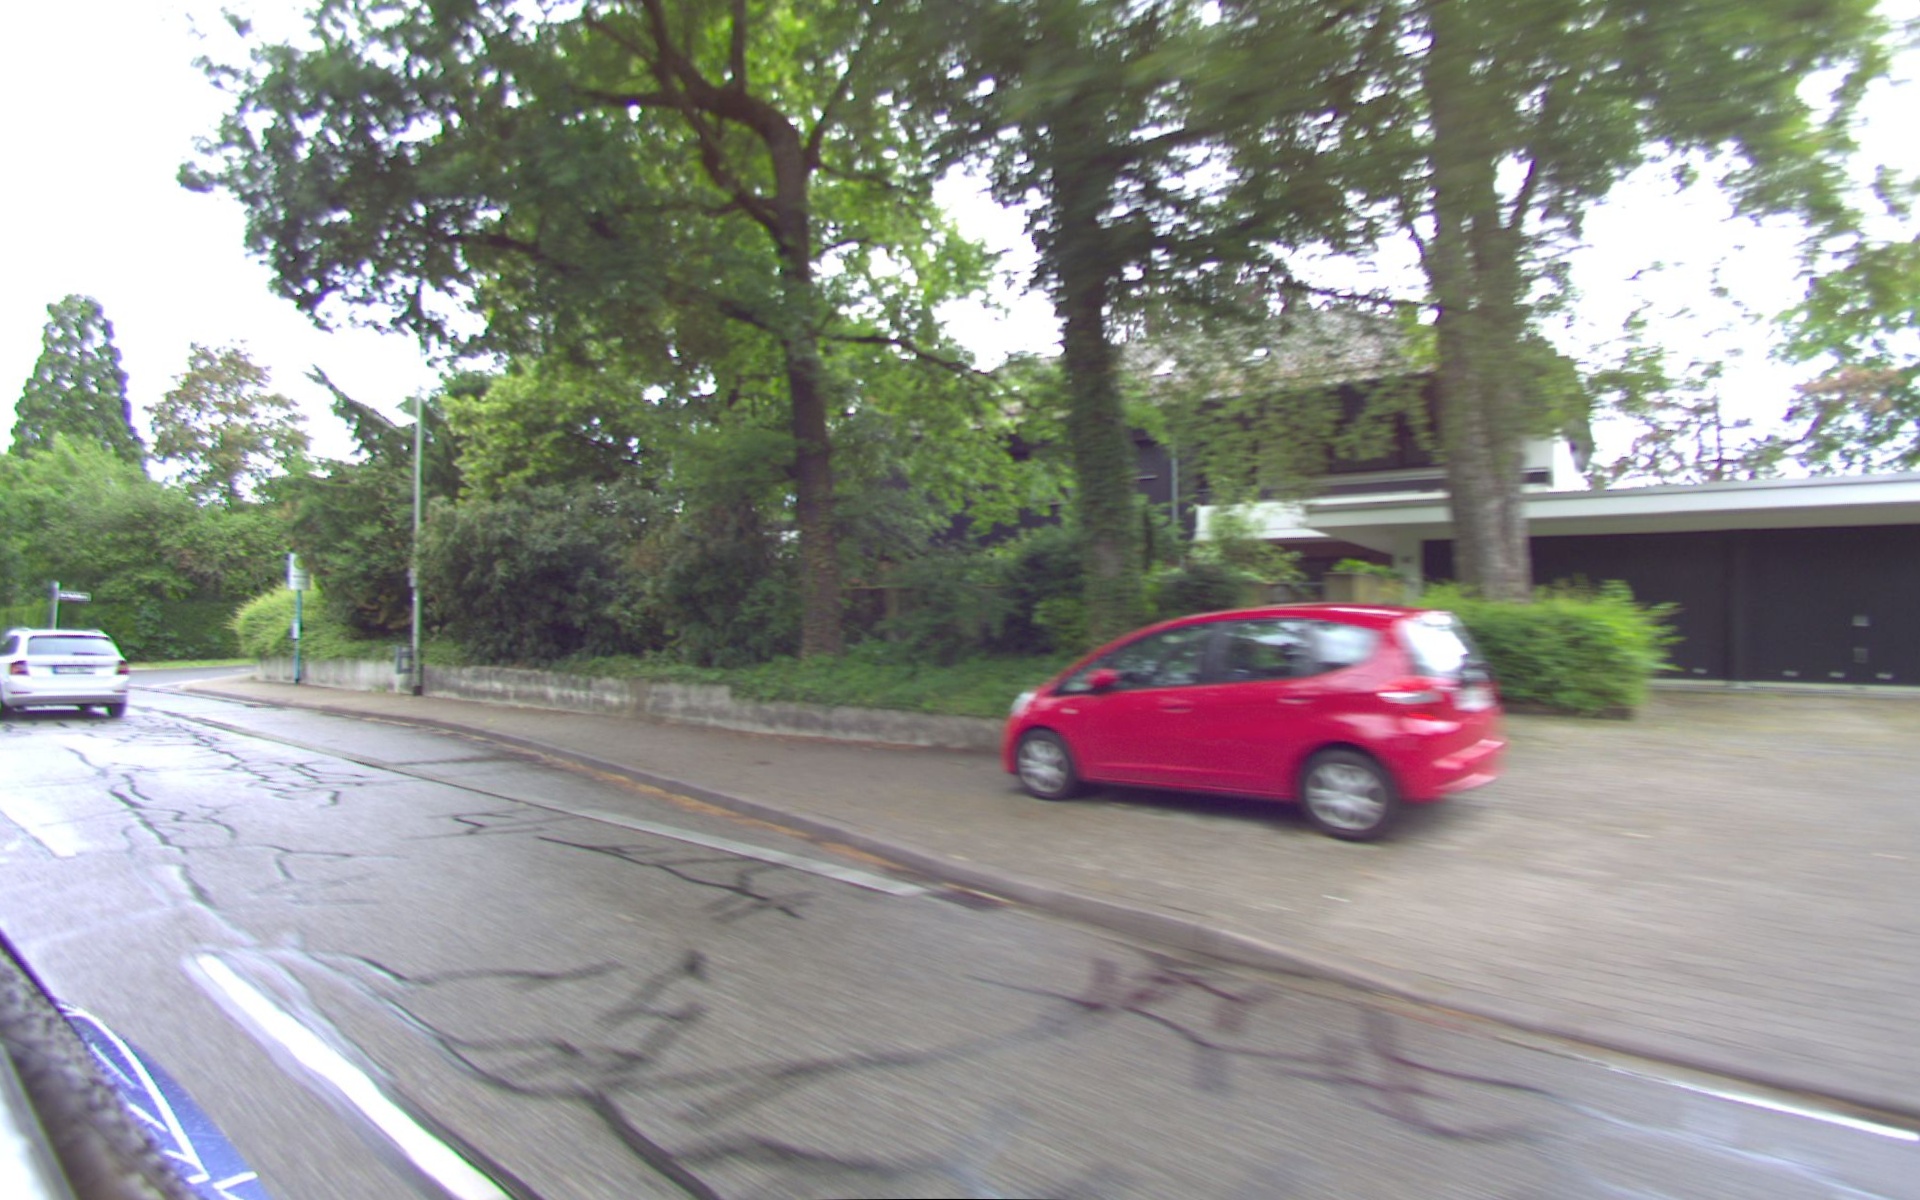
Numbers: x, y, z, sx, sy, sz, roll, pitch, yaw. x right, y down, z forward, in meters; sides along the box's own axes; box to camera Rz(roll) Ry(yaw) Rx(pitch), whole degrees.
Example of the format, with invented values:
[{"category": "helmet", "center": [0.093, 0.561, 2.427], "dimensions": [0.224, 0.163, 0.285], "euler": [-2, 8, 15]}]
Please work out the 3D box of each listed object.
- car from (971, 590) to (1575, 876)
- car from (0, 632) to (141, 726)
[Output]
[{"category": "car", "center": [2.229, 0.779, 7.877], "dimensions": [1.971, 1.527, 4.002], "euler": [-5, 3, -45]}, {"category": "car", "center": [-15.597, 1.280, 17.251], "dimensions": [4.004, 1.421, 1.684], "euler": [-2, -4, 39]}]
